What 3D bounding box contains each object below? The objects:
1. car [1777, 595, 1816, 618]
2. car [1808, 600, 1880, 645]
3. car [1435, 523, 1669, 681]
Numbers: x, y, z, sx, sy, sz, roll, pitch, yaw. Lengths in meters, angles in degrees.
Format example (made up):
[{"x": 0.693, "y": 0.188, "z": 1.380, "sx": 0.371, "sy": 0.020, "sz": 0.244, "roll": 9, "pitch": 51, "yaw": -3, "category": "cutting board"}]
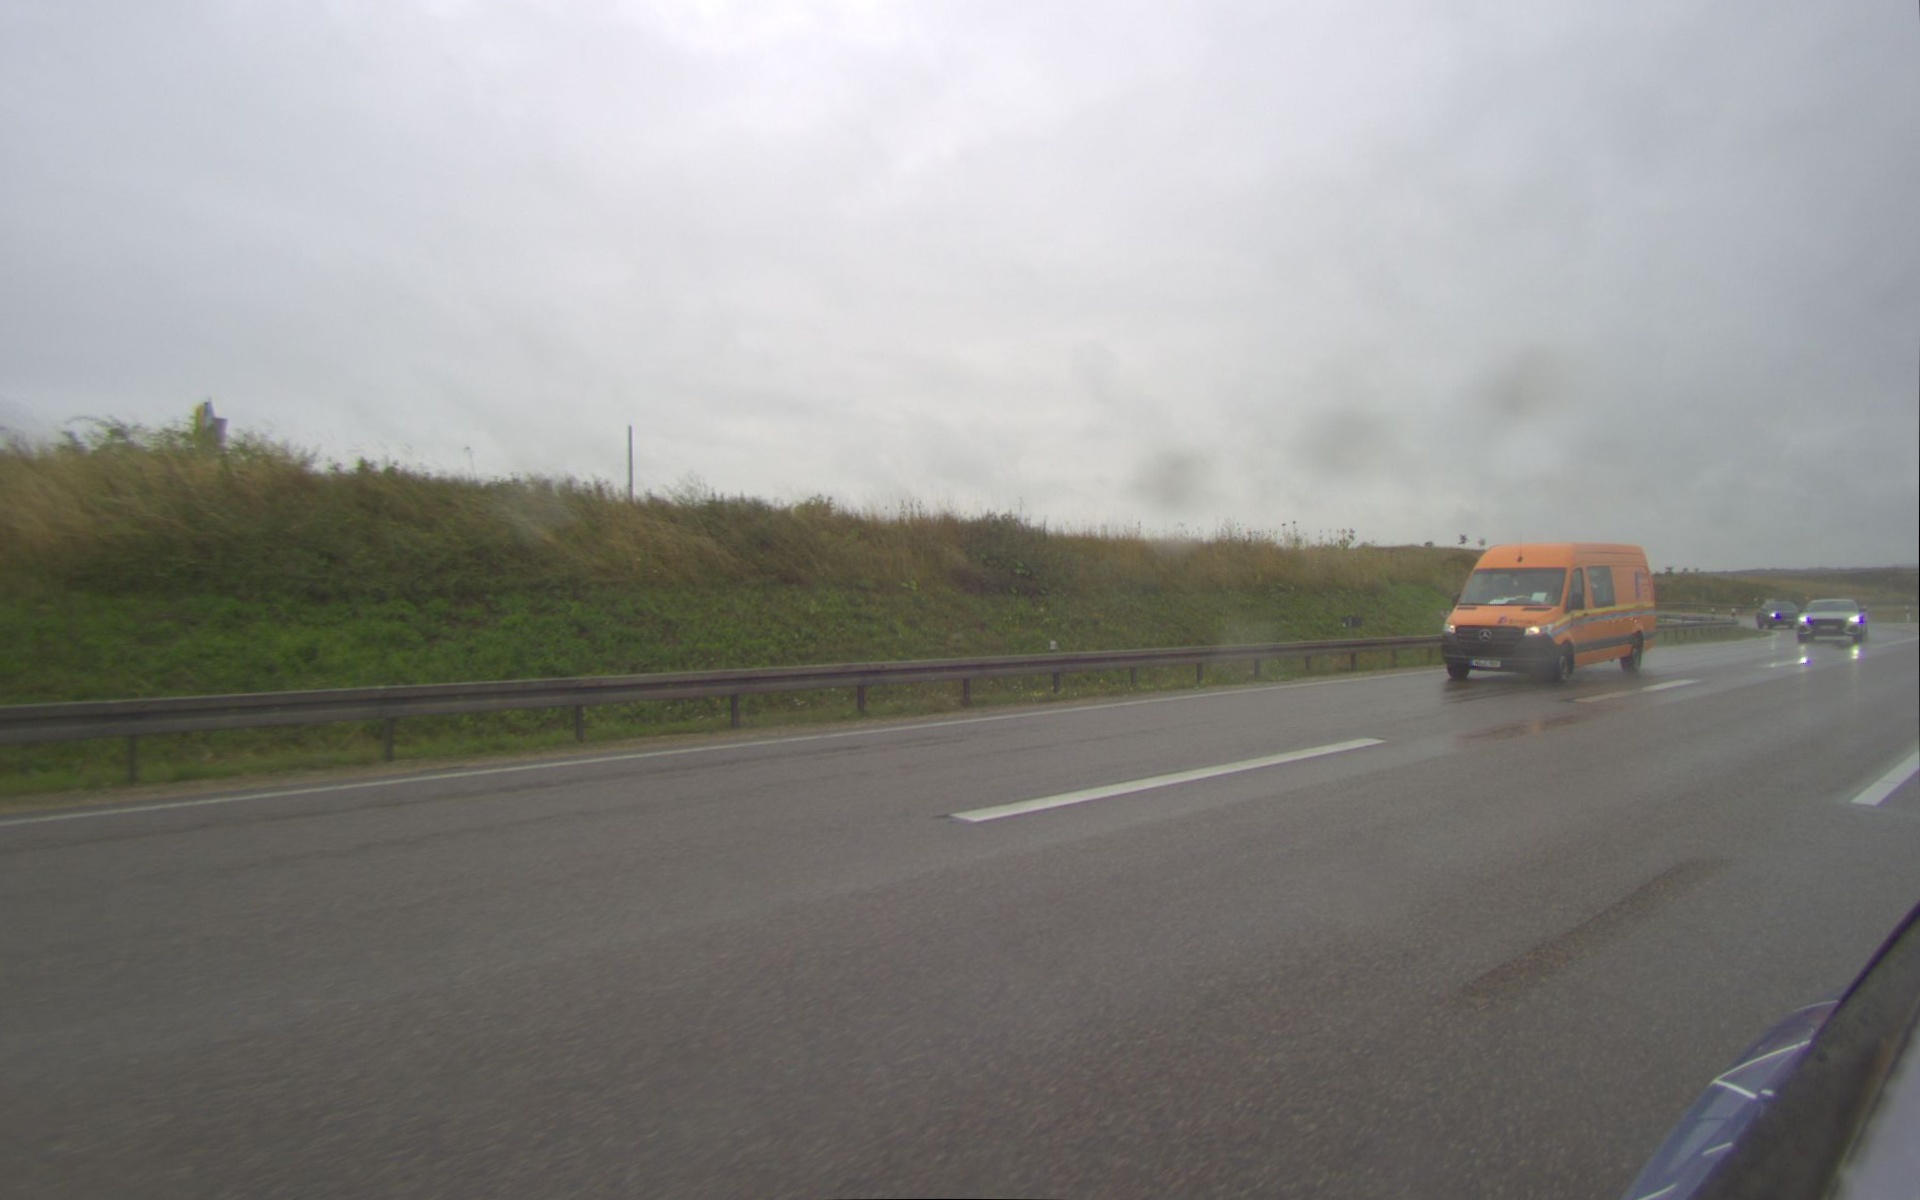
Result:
[{"x": 51.801, "y": 0.375, "z": 62.720, "sx": 1.812, "sy": 1.304, "sz": 3.943, "roll": 0, "pitch": 1, "yaw": 40, "category": "car"}, {"x": 33.342, "y": 0.797, "z": 38.136, "sx": 1.908, "sy": 1.504, "sz": 4.408, "roll": 1, "pitch": 1, "yaw": 43, "category": "car"}, {"x": 11.898, "y": 0.018, "z": 20.026, "sx": 6.769, "sy": 2.649, "sz": 2.063, "roll": -1, "pitch": -1, "yaw": -43, "category": "car"}]
